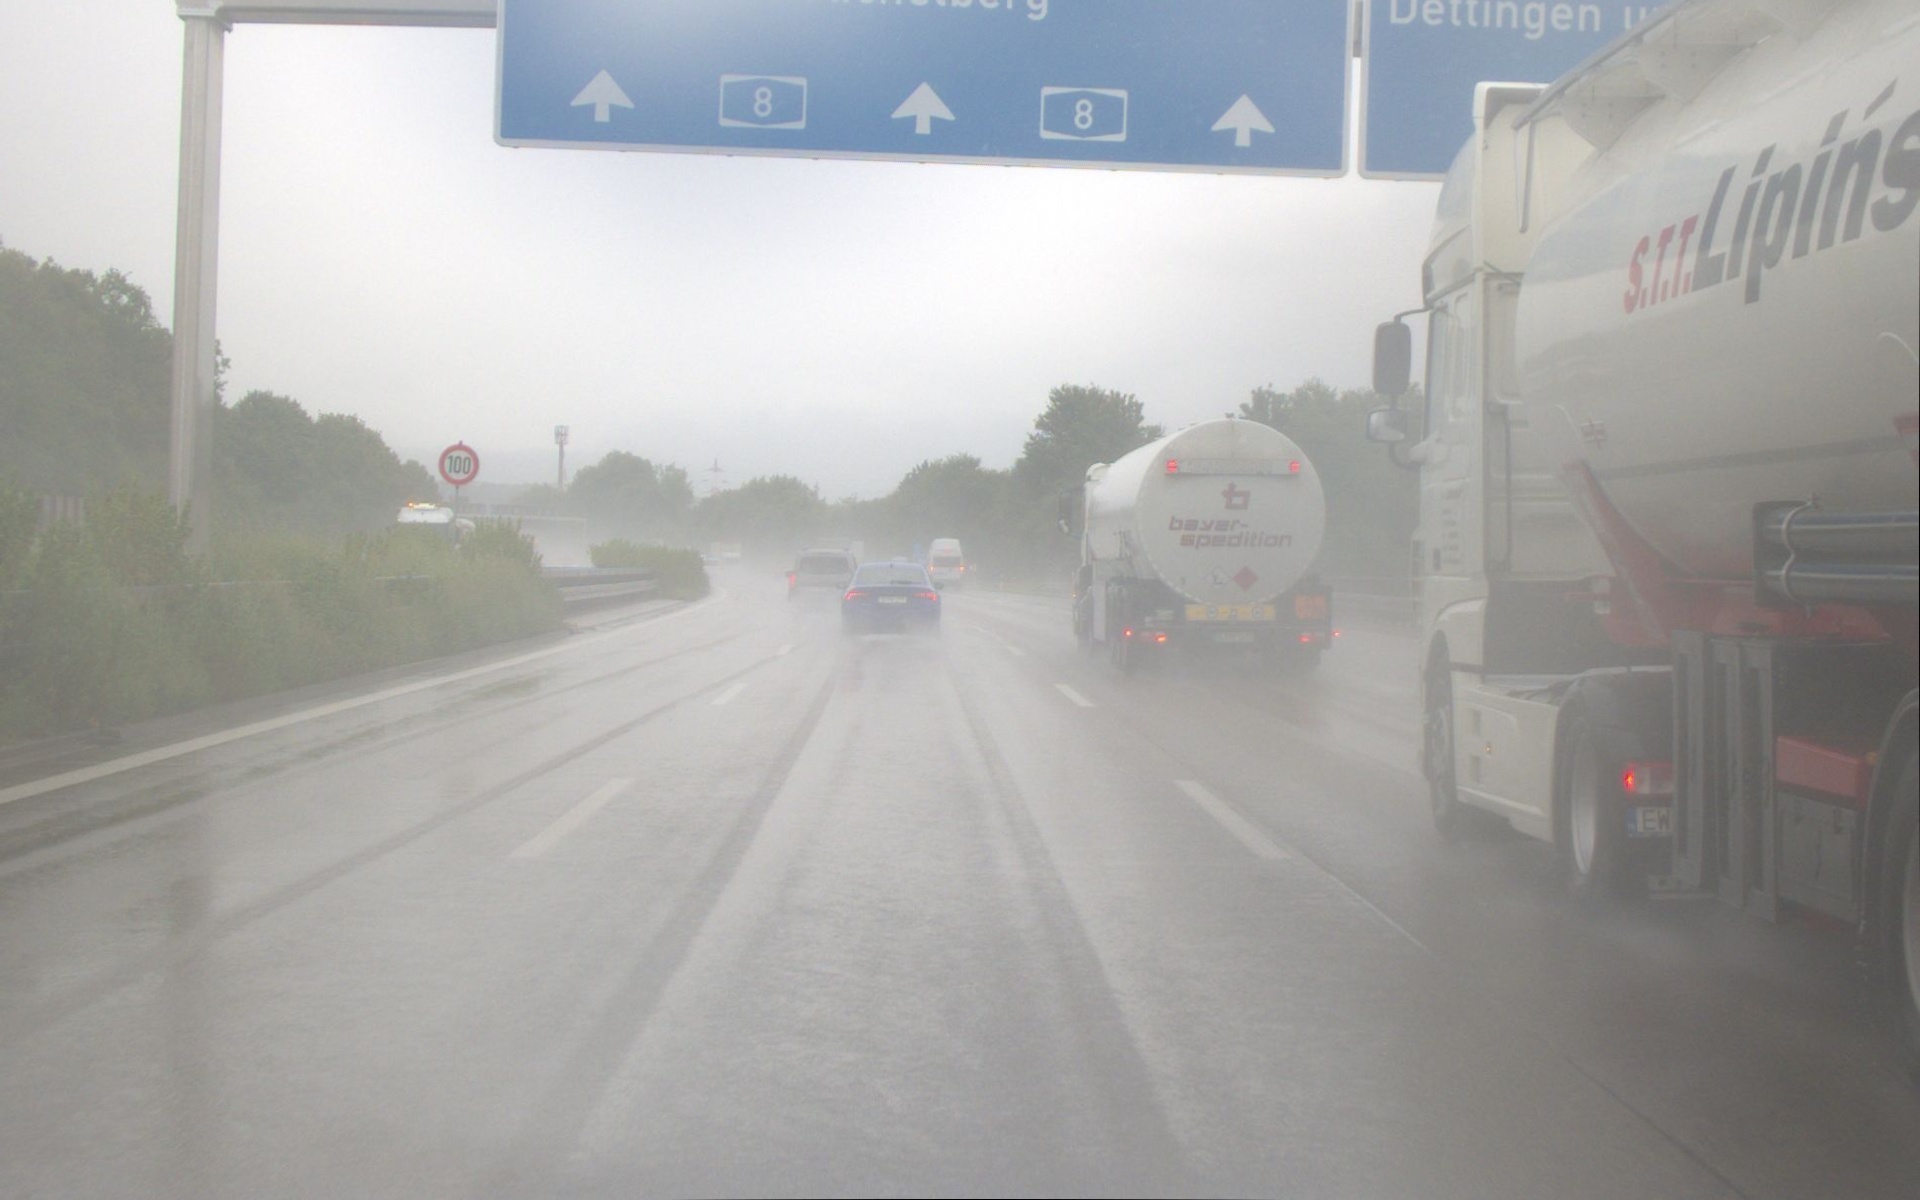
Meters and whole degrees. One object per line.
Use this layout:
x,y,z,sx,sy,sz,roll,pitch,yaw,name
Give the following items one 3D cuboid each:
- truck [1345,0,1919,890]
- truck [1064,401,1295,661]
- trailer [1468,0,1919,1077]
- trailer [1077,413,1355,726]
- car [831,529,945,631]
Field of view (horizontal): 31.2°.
3.927,-0.831,16.820,3.104,3.793,7.213,1,1,-1,truck
3.229,-1.038,52.318,2.943,3.671,6.362,1,1,-1,truck
4.018,-0.632,9.903,3.188,3.657,11.667,1,1,-1,trailer
3.314,-0.444,46.909,3.004,3.834,8.624,1,1,-1,trailer
-1.340,-0.394,62.166,1.978,1.750,4.482,0,1,-2,car
